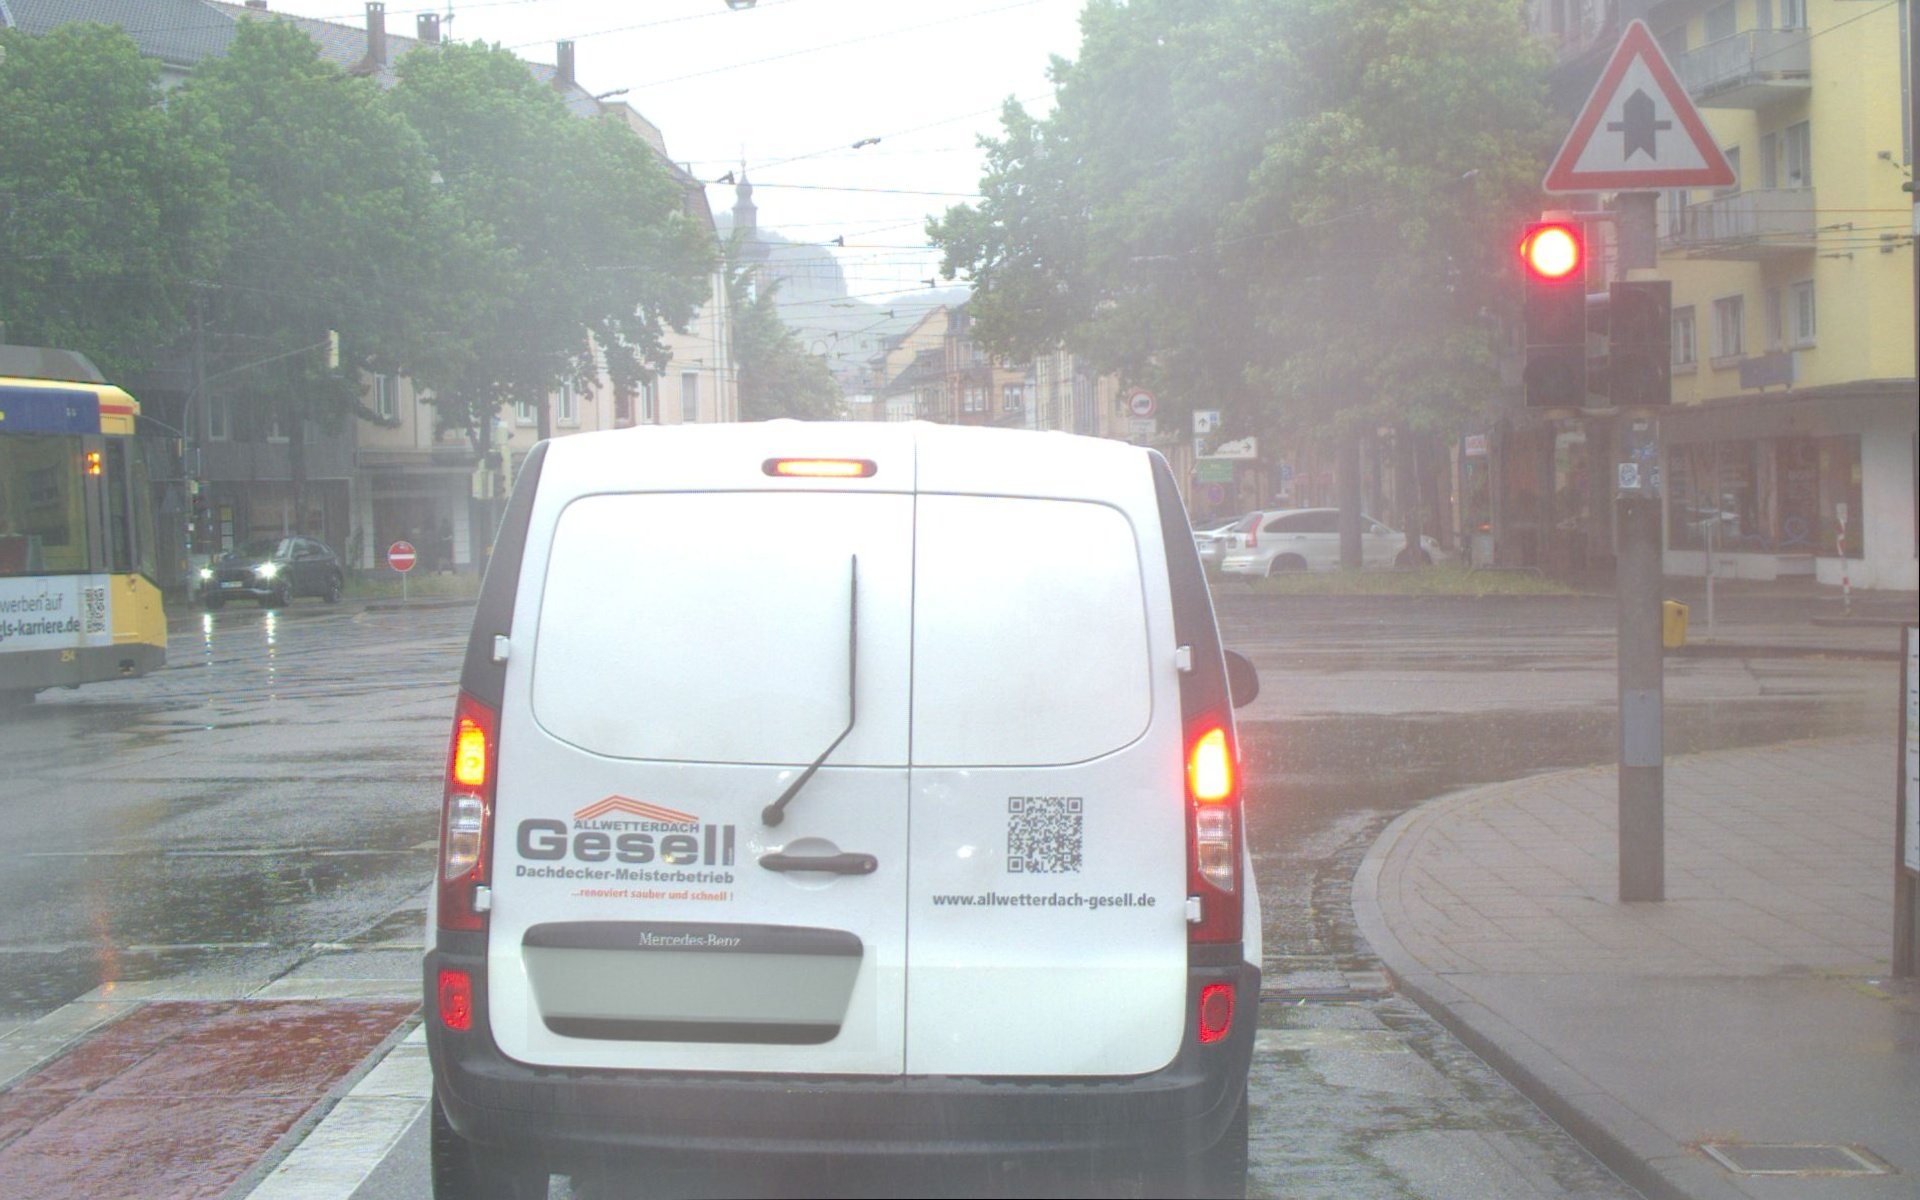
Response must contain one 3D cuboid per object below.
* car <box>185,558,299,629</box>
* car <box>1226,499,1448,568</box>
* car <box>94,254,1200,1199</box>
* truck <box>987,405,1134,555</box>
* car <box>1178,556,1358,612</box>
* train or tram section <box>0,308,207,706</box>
[{"bbox_3d":[-16.306,-0.163,78.217,1.783,1.546,4.000,0,1,-1],"label":"car"},{"bbox_3d":[7.546,-1.345,68.937,4.165,1.334,1.521,-1,2,-7],"label":"car"},{"bbox_3d":[-0.624,0.322,9.054,2.100,2.005,4.963,0,1,-1],"label":"car"},{"bbox_3d":[3.490,-4.174,124.333,3.469,5.070,15.310,0,1,-5],"label":"truck"},{"bbox_3d":[6.298,-0.338,70.462,3.441,1.126,1.472,0,1,-8],"label":"car"},{"bbox_3d":[-11.129,-0.791,25.871,3.543,3.401,15.492,1,1,17],"label":"train or tram section"}]
